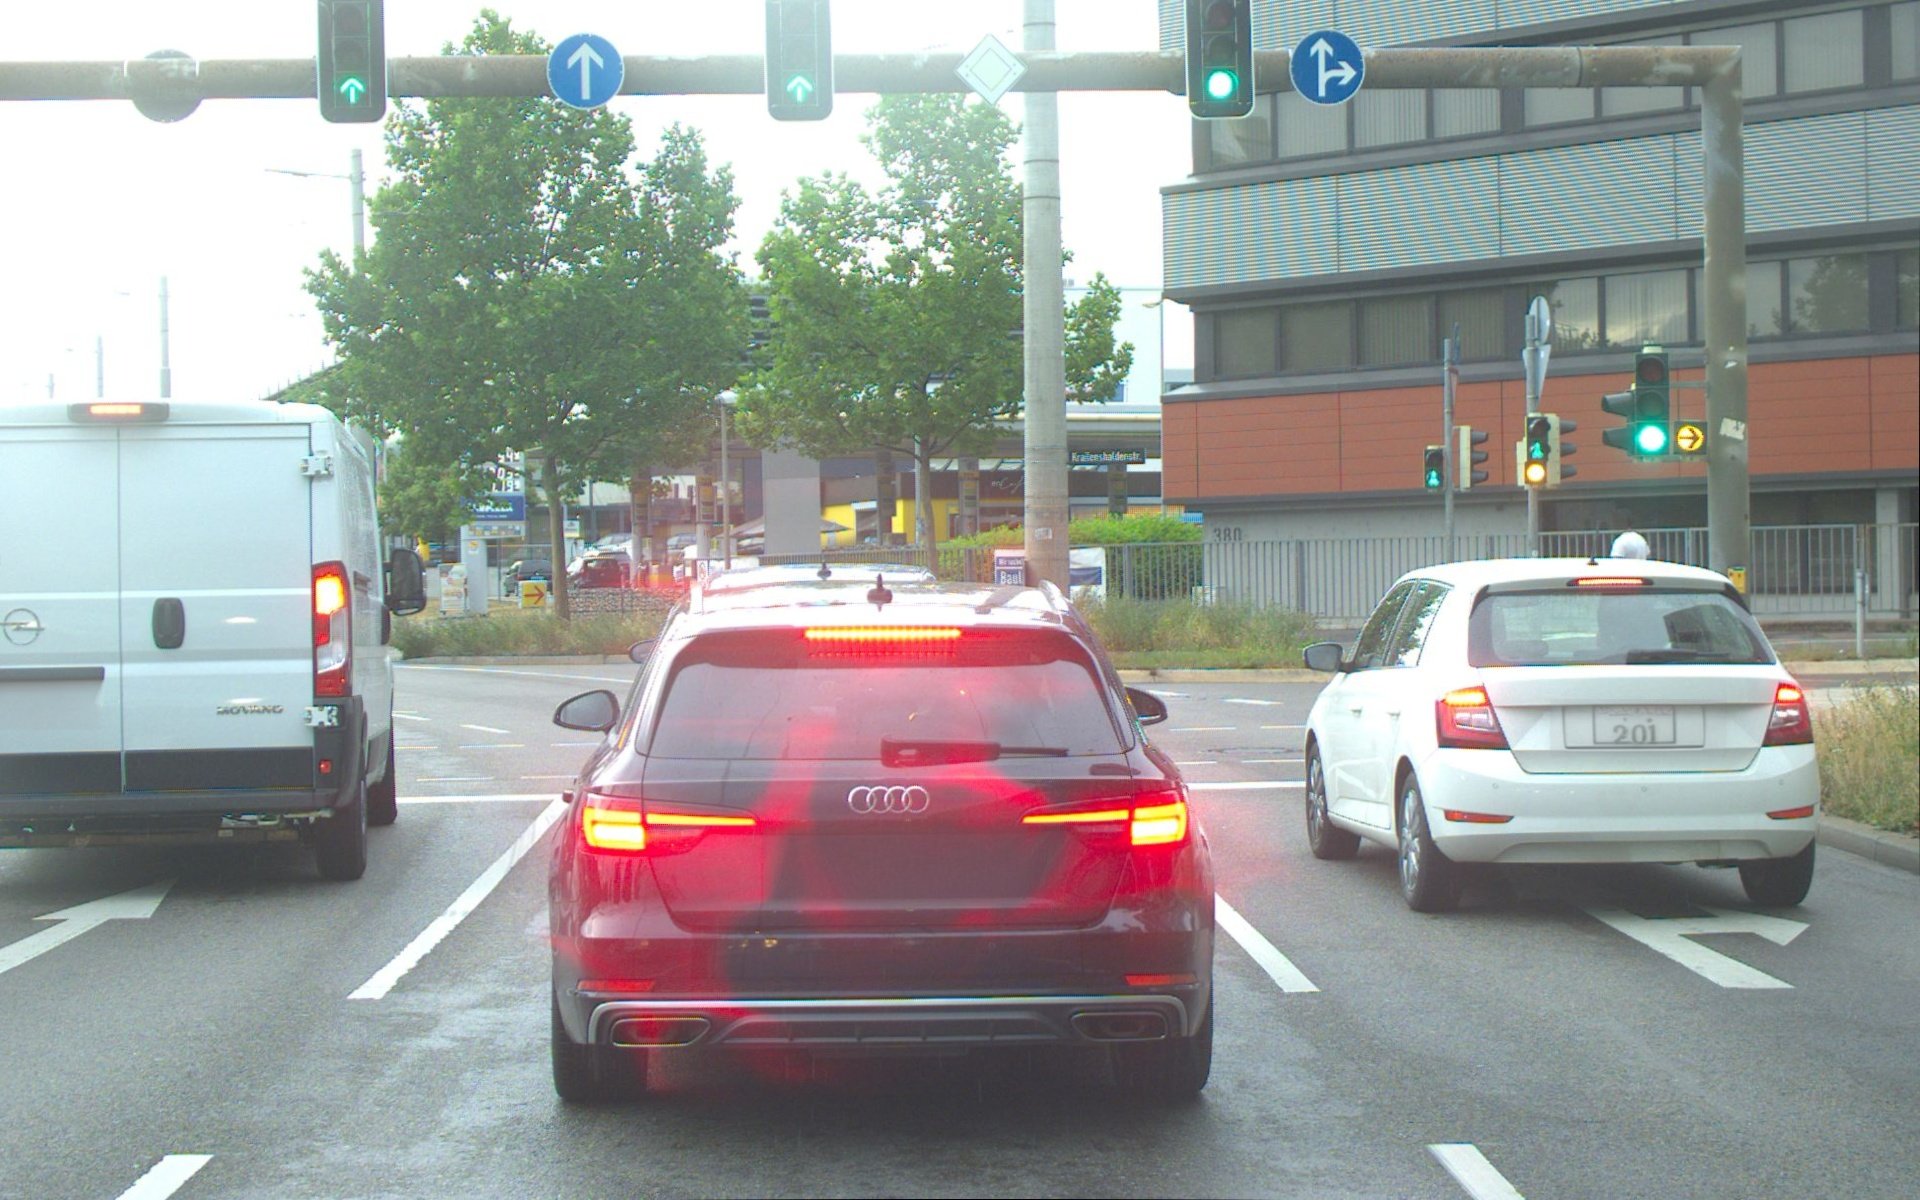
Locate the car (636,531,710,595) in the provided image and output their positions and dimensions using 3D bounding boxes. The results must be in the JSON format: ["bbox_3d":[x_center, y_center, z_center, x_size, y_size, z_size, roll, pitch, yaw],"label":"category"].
[{"bbox_3d":[-9.405,-1.198,112.379,1.678,2.007,3.543,2,0,-17],"label":"car"}]

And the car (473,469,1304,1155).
[{"bbox_3d":[-0.201,0.527,10.355,1.993,1.632,4.000,-1,0,-1],"label":"car"}]

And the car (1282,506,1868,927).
[{"bbox_3d":[2.609,0.472,15.517,1.829,1.650,4.000,0,0,-1],"label":"car"}]

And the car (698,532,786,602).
[{"bbox_3d":[-6.593,-0.988,103.537,1.993,2.025,4.001,-2,1,-13],"label":"car"}]

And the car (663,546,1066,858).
[{"bbox_3d":[-0.430,0.491,18.189,1.894,1.460,3.909,0,0,1],"label":"car"}]

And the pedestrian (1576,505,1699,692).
[{"bbox_3d":[7.920,-0.038,40.247,1.143,2.118,1.222,-2,2,-1],"label":"pedestrian"}]

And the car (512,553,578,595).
[{"bbox_3d":[-16.301,-1.036,134.931,1.791,1.586,4.001,-1,1,-19],"label":"car"}]

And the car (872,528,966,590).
[{"bbox_3d":[-1.404,-1.368,115.768,1.869,2.007,3.775,2,-1,-22],"label":"car"}]

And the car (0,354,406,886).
[{"bbox_3d":[-4.135,0.093,17.427,2.444,2.286,4.905,2,0,-8],"label":"car"}]
